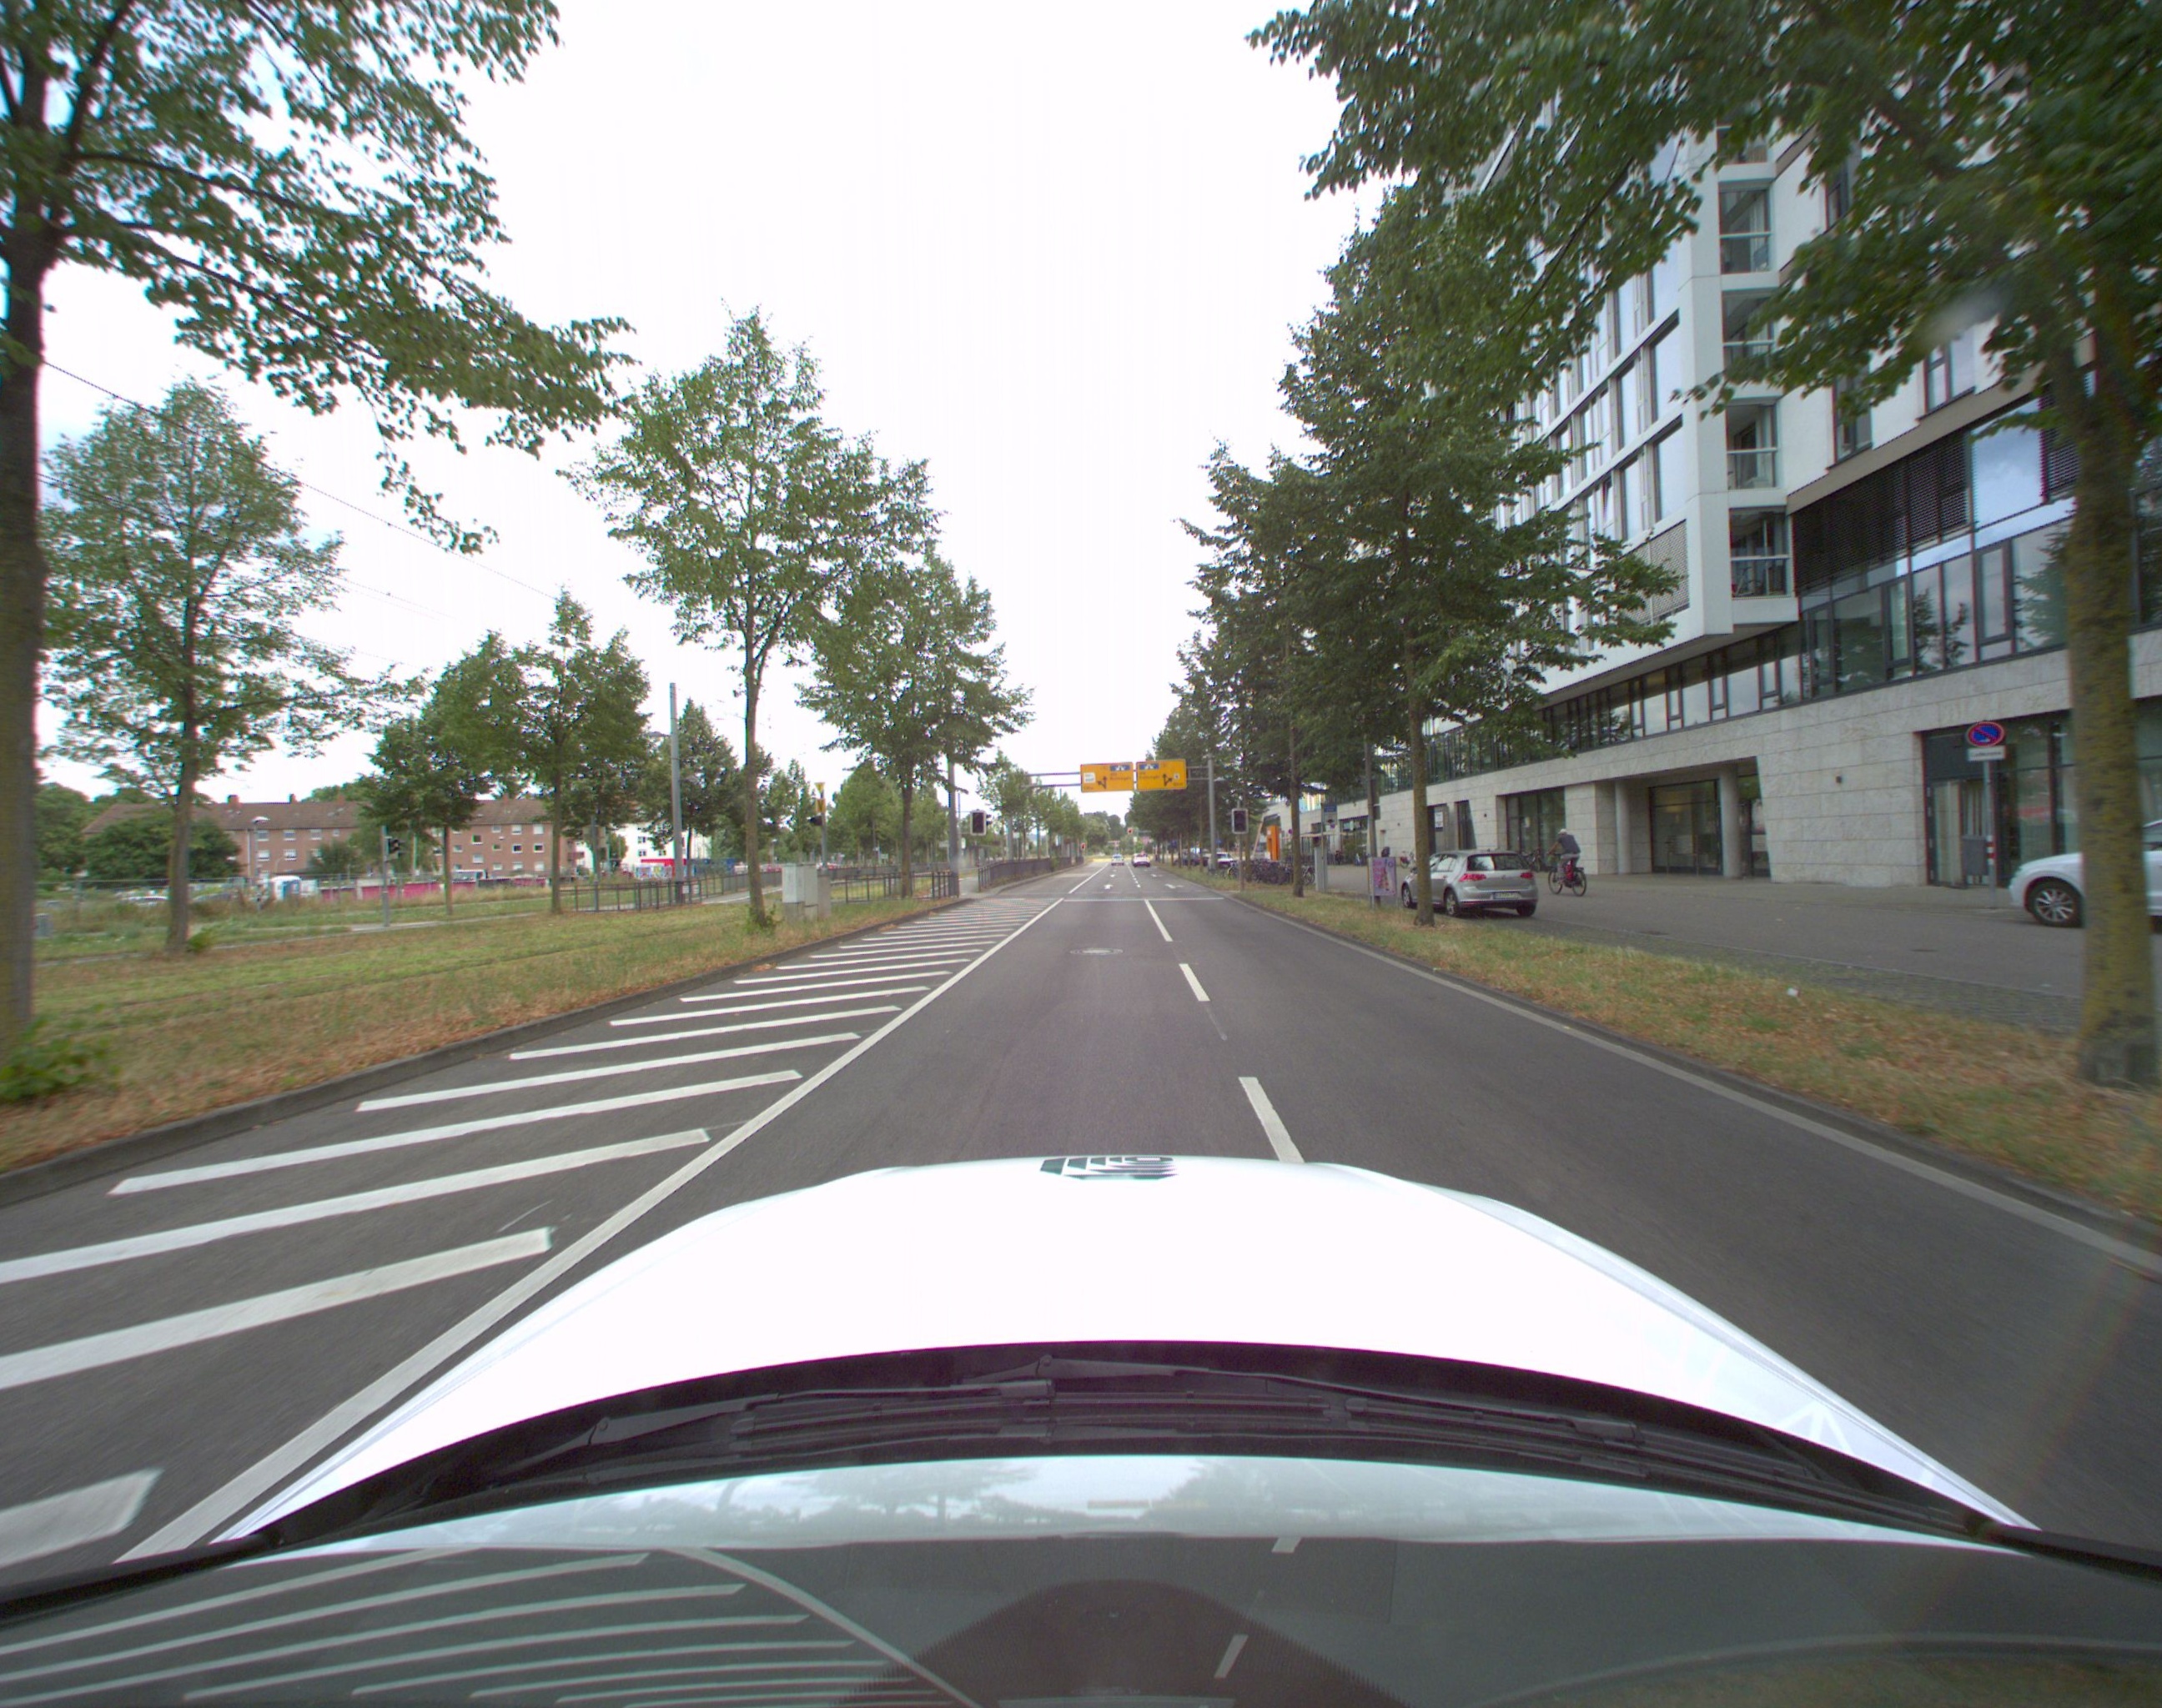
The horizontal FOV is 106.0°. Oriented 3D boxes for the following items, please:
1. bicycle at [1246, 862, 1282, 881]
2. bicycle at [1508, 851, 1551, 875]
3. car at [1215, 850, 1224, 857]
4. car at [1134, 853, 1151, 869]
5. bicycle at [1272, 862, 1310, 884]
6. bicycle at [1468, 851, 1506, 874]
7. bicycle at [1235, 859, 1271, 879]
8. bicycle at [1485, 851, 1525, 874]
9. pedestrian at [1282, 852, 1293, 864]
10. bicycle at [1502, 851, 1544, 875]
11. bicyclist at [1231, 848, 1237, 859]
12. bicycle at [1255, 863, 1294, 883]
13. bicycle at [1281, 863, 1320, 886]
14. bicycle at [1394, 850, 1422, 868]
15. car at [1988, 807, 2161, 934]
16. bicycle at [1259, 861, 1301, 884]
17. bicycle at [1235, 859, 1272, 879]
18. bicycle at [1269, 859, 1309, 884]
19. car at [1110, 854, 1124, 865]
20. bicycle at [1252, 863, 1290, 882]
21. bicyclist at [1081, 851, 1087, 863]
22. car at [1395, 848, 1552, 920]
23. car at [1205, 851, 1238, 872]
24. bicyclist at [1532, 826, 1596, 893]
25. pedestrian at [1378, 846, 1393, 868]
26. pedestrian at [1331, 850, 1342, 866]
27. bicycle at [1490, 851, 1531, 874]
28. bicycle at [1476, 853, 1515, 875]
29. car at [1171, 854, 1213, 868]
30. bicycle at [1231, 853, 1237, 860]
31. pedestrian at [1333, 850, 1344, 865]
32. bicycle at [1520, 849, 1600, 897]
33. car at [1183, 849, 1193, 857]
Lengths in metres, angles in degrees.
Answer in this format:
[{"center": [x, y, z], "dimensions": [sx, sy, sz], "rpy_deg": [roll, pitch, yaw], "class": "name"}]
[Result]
[{"center": [9.641, 0.914, 43.009], "dimensions": [1.741, 0.974, 0.608], "rpy_deg": [1, 0, -6], "class": "bicycle"}, {"center": [19.174, 0.380, 34.797], "dimensions": [1.524, 0.953, 0.533], "rpy_deg": [-2, -1, -1], "class": "bicycle"}, {"center": [32.531, -0.046, 191.795], "dimensions": [1.771, 1.636, 4.417], "rpy_deg": [-2, 0, 13], "class": "car"}, {"center": [7.133, 0.787, 94.374], "dimensions": [1.771, 1.656, 4.026], "rpy_deg": [-2, 0, 3], "class": "car"}, {"center": [9.214, 0.842, 35.784], "dimensions": [1.524, 0.953, 0.484], "rpy_deg": [0, 0, -1], "class": "bicycle"}, {"center": [19.284, 0.393, 38.667], "dimensions": [1.524, 1.026, 0.533], "rpy_deg": [-2, -1, -1], "class": "bicycle"}, {"center": [9.774, 0.868, 46.345], "dimensions": [1.924, 1.065, 0.705], "rpy_deg": [1, 0, -1], "class": "bicycle"}, {"center": [19.197, 0.389, 36.903], "dimensions": [1.524, 0.953, 0.533], "rpy_deg": [-2, -1, -1], "class": "bicycle"}, {"center": [20.605, 0.395, 81.158], "dimensions": [0.893, 1.228, 0.952], "rpy_deg": [-2, 0, 7], "class": "pedestrian"}, {"center": [19.176, 0.389, 35.357], "dimensions": [1.524, 0.953, 0.533], "rpy_deg": [-2, -1, -1], "class": "bicycle"}, {"center": [23.581, -0.091, 125.573], "dimensions": [0.721, 1.582, 0.990], "rpy_deg": [-2, -1, 3], "class": "bicyclist"}, {"center": [9.367, 0.931, 39.383], "dimensions": [1.712, 0.906, 0.587], "rpy_deg": [1, 0, -6], "class": "bicycle"}, {"center": [9.436, 0.872, 35.005], "dimensions": [1.524, 0.953, 0.552], "rpy_deg": [0, 0, -1], "class": "bicycle"}, {"center": [19.974, 0.312, 49.676], "dimensions": [1.605, 1.026, 0.605], "rpy_deg": [-3, -1, -25], "class": "bicycle"}, {"center": [14.847, 0.179, 10.392], "dimensions": [1.850, 1.588, 4.243], "rpy_deg": [-4, 0, 3], "class": "car"}, {"center": [9.293, 0.860, 38.043], "dimensions": [1.770, 1.012, 0.609], "rpy_deg": [1, 0, -6], "class": "bicycle"}, {"center": [9.663, 0.860, 45.588], "dimensions": [1.924, 1.065, 0.641], "rpy_deg": [1, 0, -1], "class": "bicycle"}, {"center": [9.306, 0.780, 36.518], "dimensions": [1.663, 1.090, 0.525], "rpy_deg": [0, 0, -1], "class": "bicycle"}, {"center": [5.040, 0.818, 113.845], "dimensions": [1.767, 1.448, 3.911], "rpy_deg": [-2, 0, 1], "class": "car"}, {"center": [9.333, 0.920, 40.019], "dimensions": [1.712, 0.906, 0.587], "rpy_deg": [1, 0, -6], "class": "bicycle"}, {"center": [0.497, 0.451, 128.624], "dimensions": [0.737, 1.886, 0.723], "rpy_deg": [5, -6, -35], "class": "bicyclist"}, {"center": [8.831, 0.614, 18.739], "dimensions": [1.753, 1.421, 4.186], "rpy_deg": [-1, 0, 3], "class": "car"}, {"center": [11.168, 0.556, 65.022], "dimensions": [1.930, 1.552, 4.596], "rpy_deg": [-2, 0, 2], "class": "car"}, {"center": [13.482, 0.148, 22.763], "dimensions": [0.993, 1.737, 1.130], "rpy_deg": [-5, 0, 1], "class": "bicyclist"}, {"center": [19.975, 0.209, 53.371], "dimensions": [0.752, 1.407, 0.723], "rpy_deg": [-2, 0, 10], "class": "pedestrian"}, {"center": [20.020, 0.303, 63.882], "dimensions": [0.766, 1.192, 1.111], "rpy_deg": [-2, 0, 18], "class": "pedestrian"}, {"center": [19.157, 0.383, 36.298], "dimensions": [1.524, 0.953, 0.533], "rpy_deg": [-2, -1, -1], "class": "bicycle"}, {"center": [19.208, 0.442, 37.727], "dimensions": [1.524, 0.953, 0.533], "rpy_deg": [-2, -1, -1], "class": "bicycle"}, {"center": [12.391, 0.767, 91.062], "dimensions": [1.954, 1.475, 4.821], "rpy_deg": [-2, 0, -32], "class": "car"}, {"center": [23.618, 0.380, 125.665], "dimensions": [0.670, 1.042, 2.009], "rpy_deg": [-2, 0, 3], "class": "bicycle"}, {"center": [20.769, 0.299, 65.762], "dimensions": [0.712, 1.192, 0.763], "rpy_deg": [-2, 0, 24], "class": "pedestrian"}, {"center": [13.477, 0.511, 23.009], "dimensions": [0.898, 1.235, 2.269], "rpy_deg": [-5, 0, 2], "class": "bicycle"}, {"center": [25.869, -0.297, 197.771], "dimensions": [1.986, 1.791, 4.001], "rpy_deg": [0, -1, 1], "class": "car"}]
